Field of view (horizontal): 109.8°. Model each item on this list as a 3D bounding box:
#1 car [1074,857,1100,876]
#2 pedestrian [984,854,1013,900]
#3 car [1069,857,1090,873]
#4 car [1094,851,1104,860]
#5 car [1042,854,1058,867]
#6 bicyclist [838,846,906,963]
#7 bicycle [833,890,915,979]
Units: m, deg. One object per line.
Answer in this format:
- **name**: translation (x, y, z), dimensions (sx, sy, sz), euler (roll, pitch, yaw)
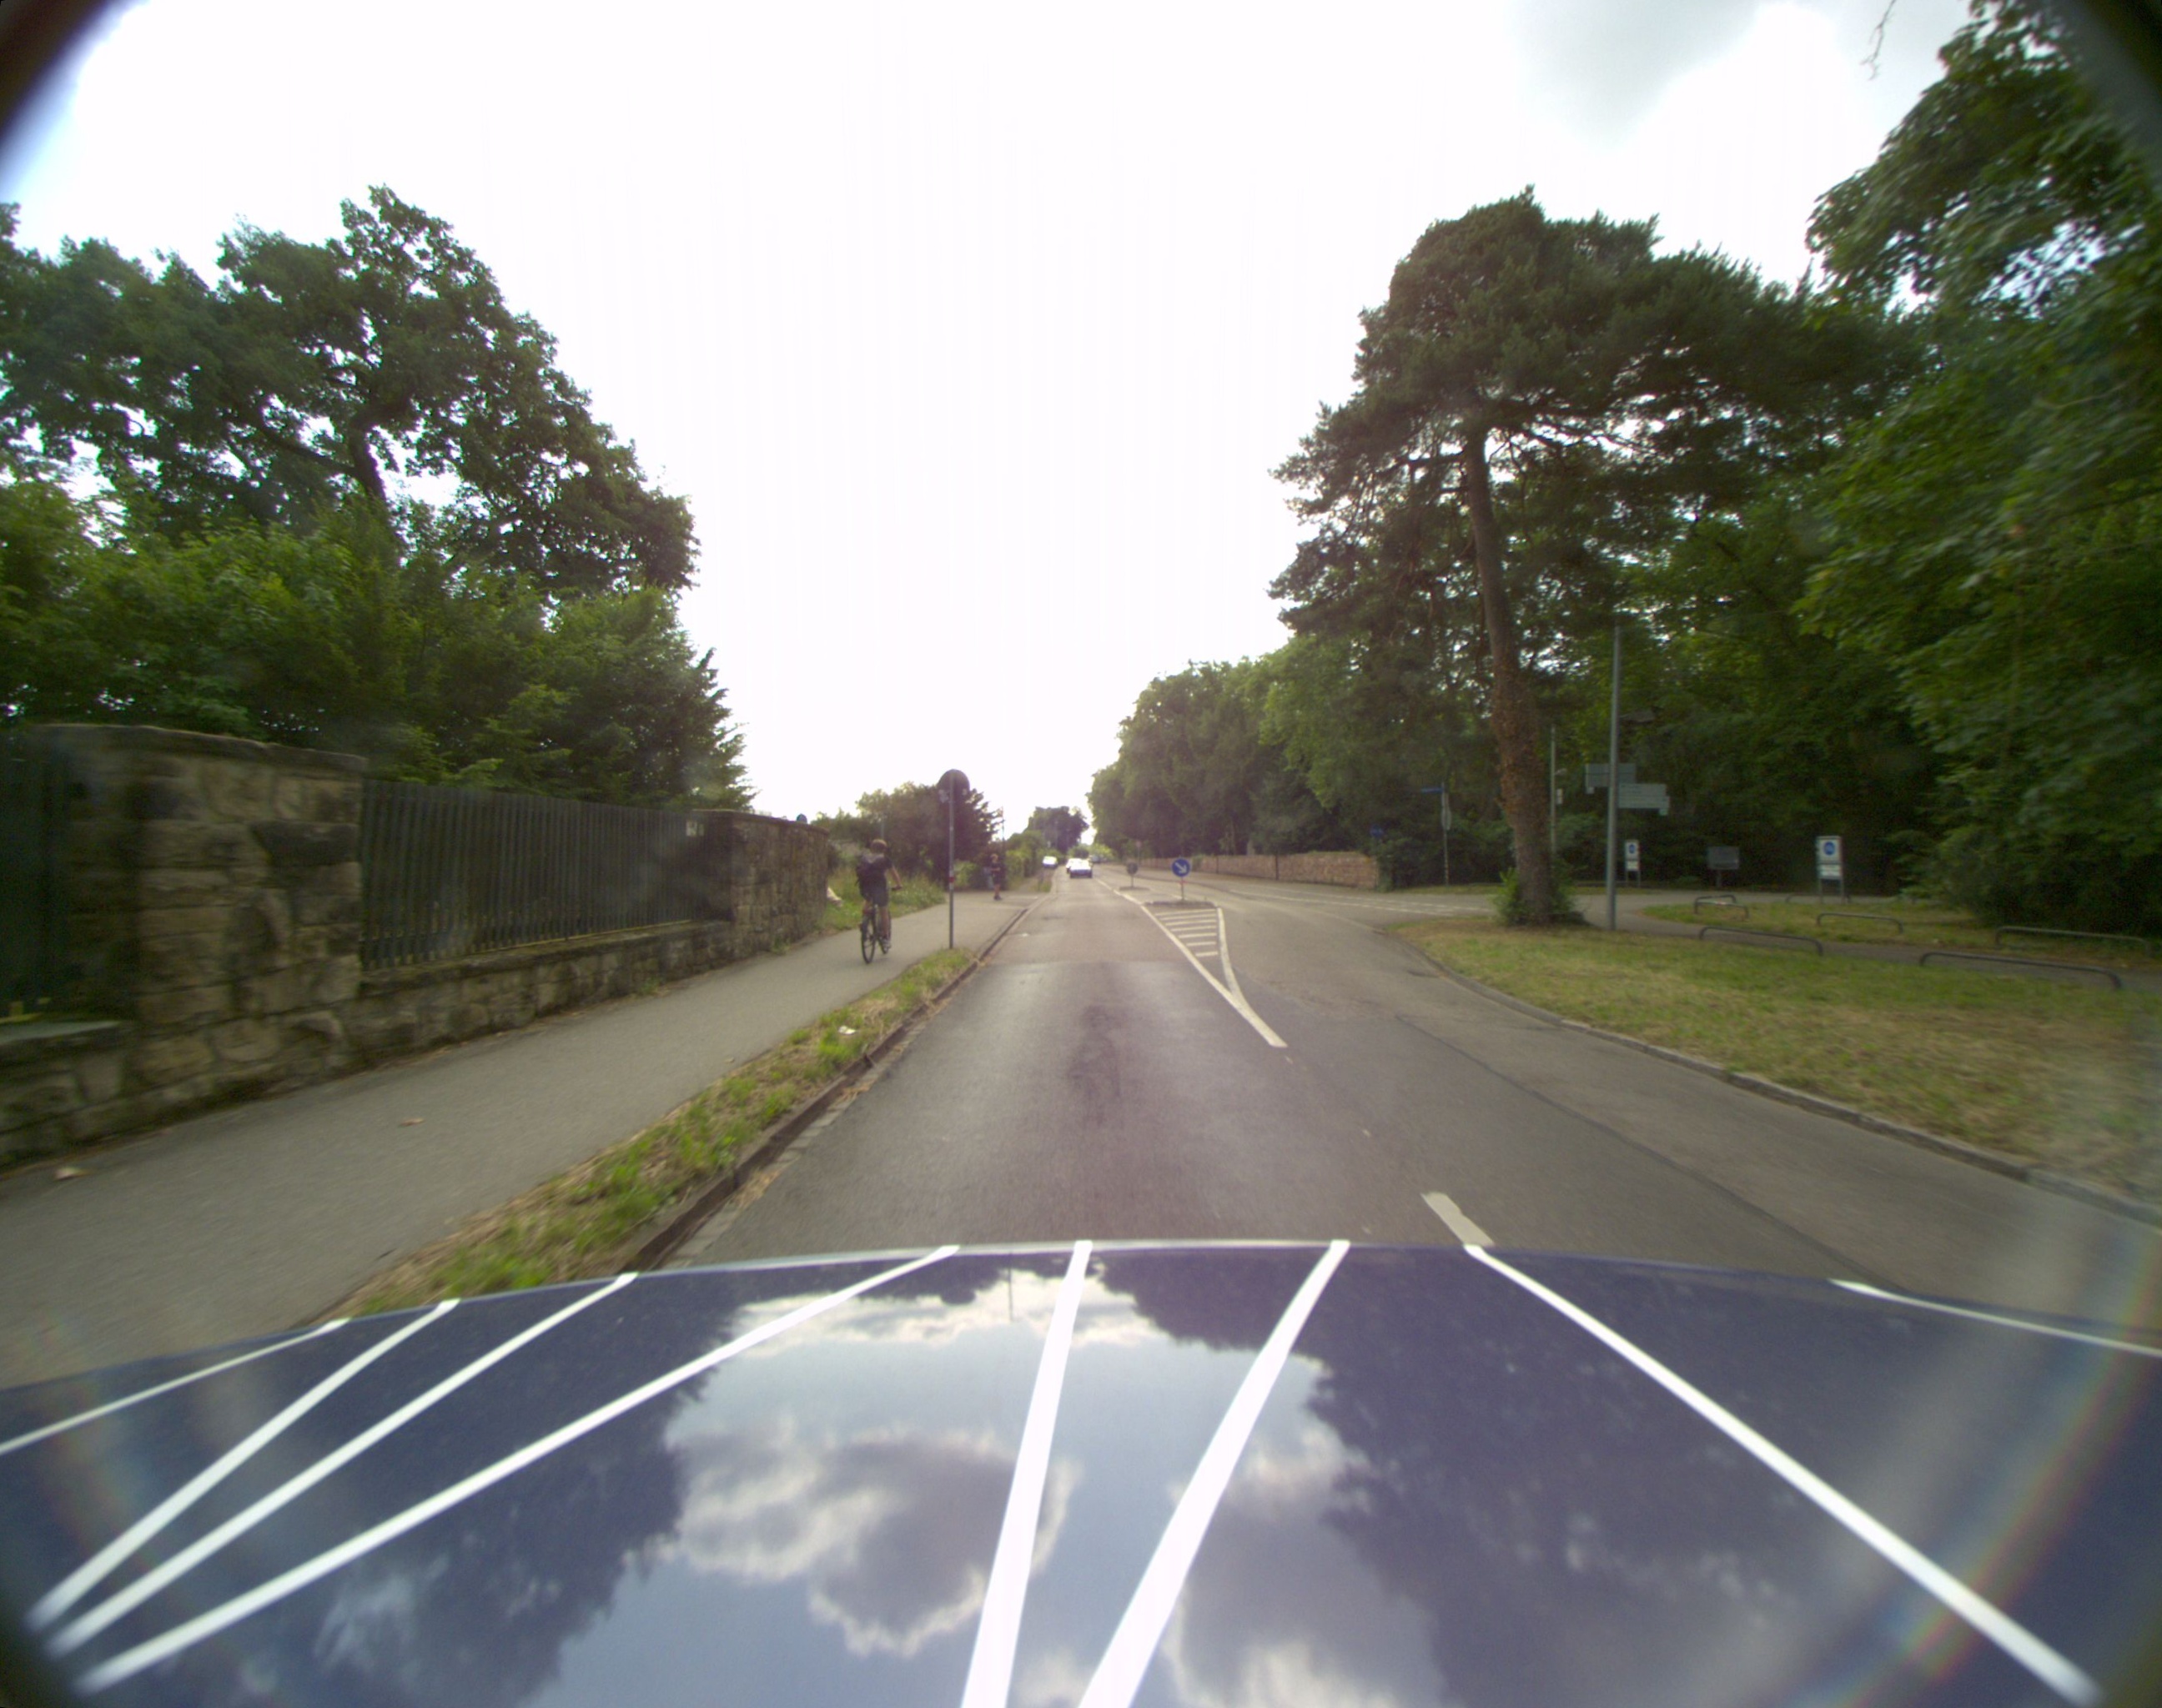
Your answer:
- **car**: translation (0.453, 1.022, 61.998), dimensions (1.965, 1.455, 4.530), euler (-1, -2, -1)
- **pedestrian**: translation (-2.965, 0.827, 27.489), dimensions (0.831, 1.641, 0.626), euler (1, 1, 17)
- **car**: translation (-0.211, 1.147, 77.241), dimensions (1.966, 1.455, 4.530), euler (1, -2, -1)
- **car**: translation (4.479, 0.279, 189.243), dimensions (1.997, 2.220, 4.377), euler (0, 0, 6)
- **car**: translation (-3.875, 0.830, 96.679), dimensions (1.799, 1.652, 4.001), euler (-1, -1, 1)
- **bicyclist**: translation (-2.981, 0.693, 10.924), dimensions (0.571, 1.578, 1.206), euler (2, 0, 1)
- **bicycle**: translation (-2.968, 1.112, 11.107), dimensions (0.559, 1.066, 2.157), euler (2, 0, 1)
